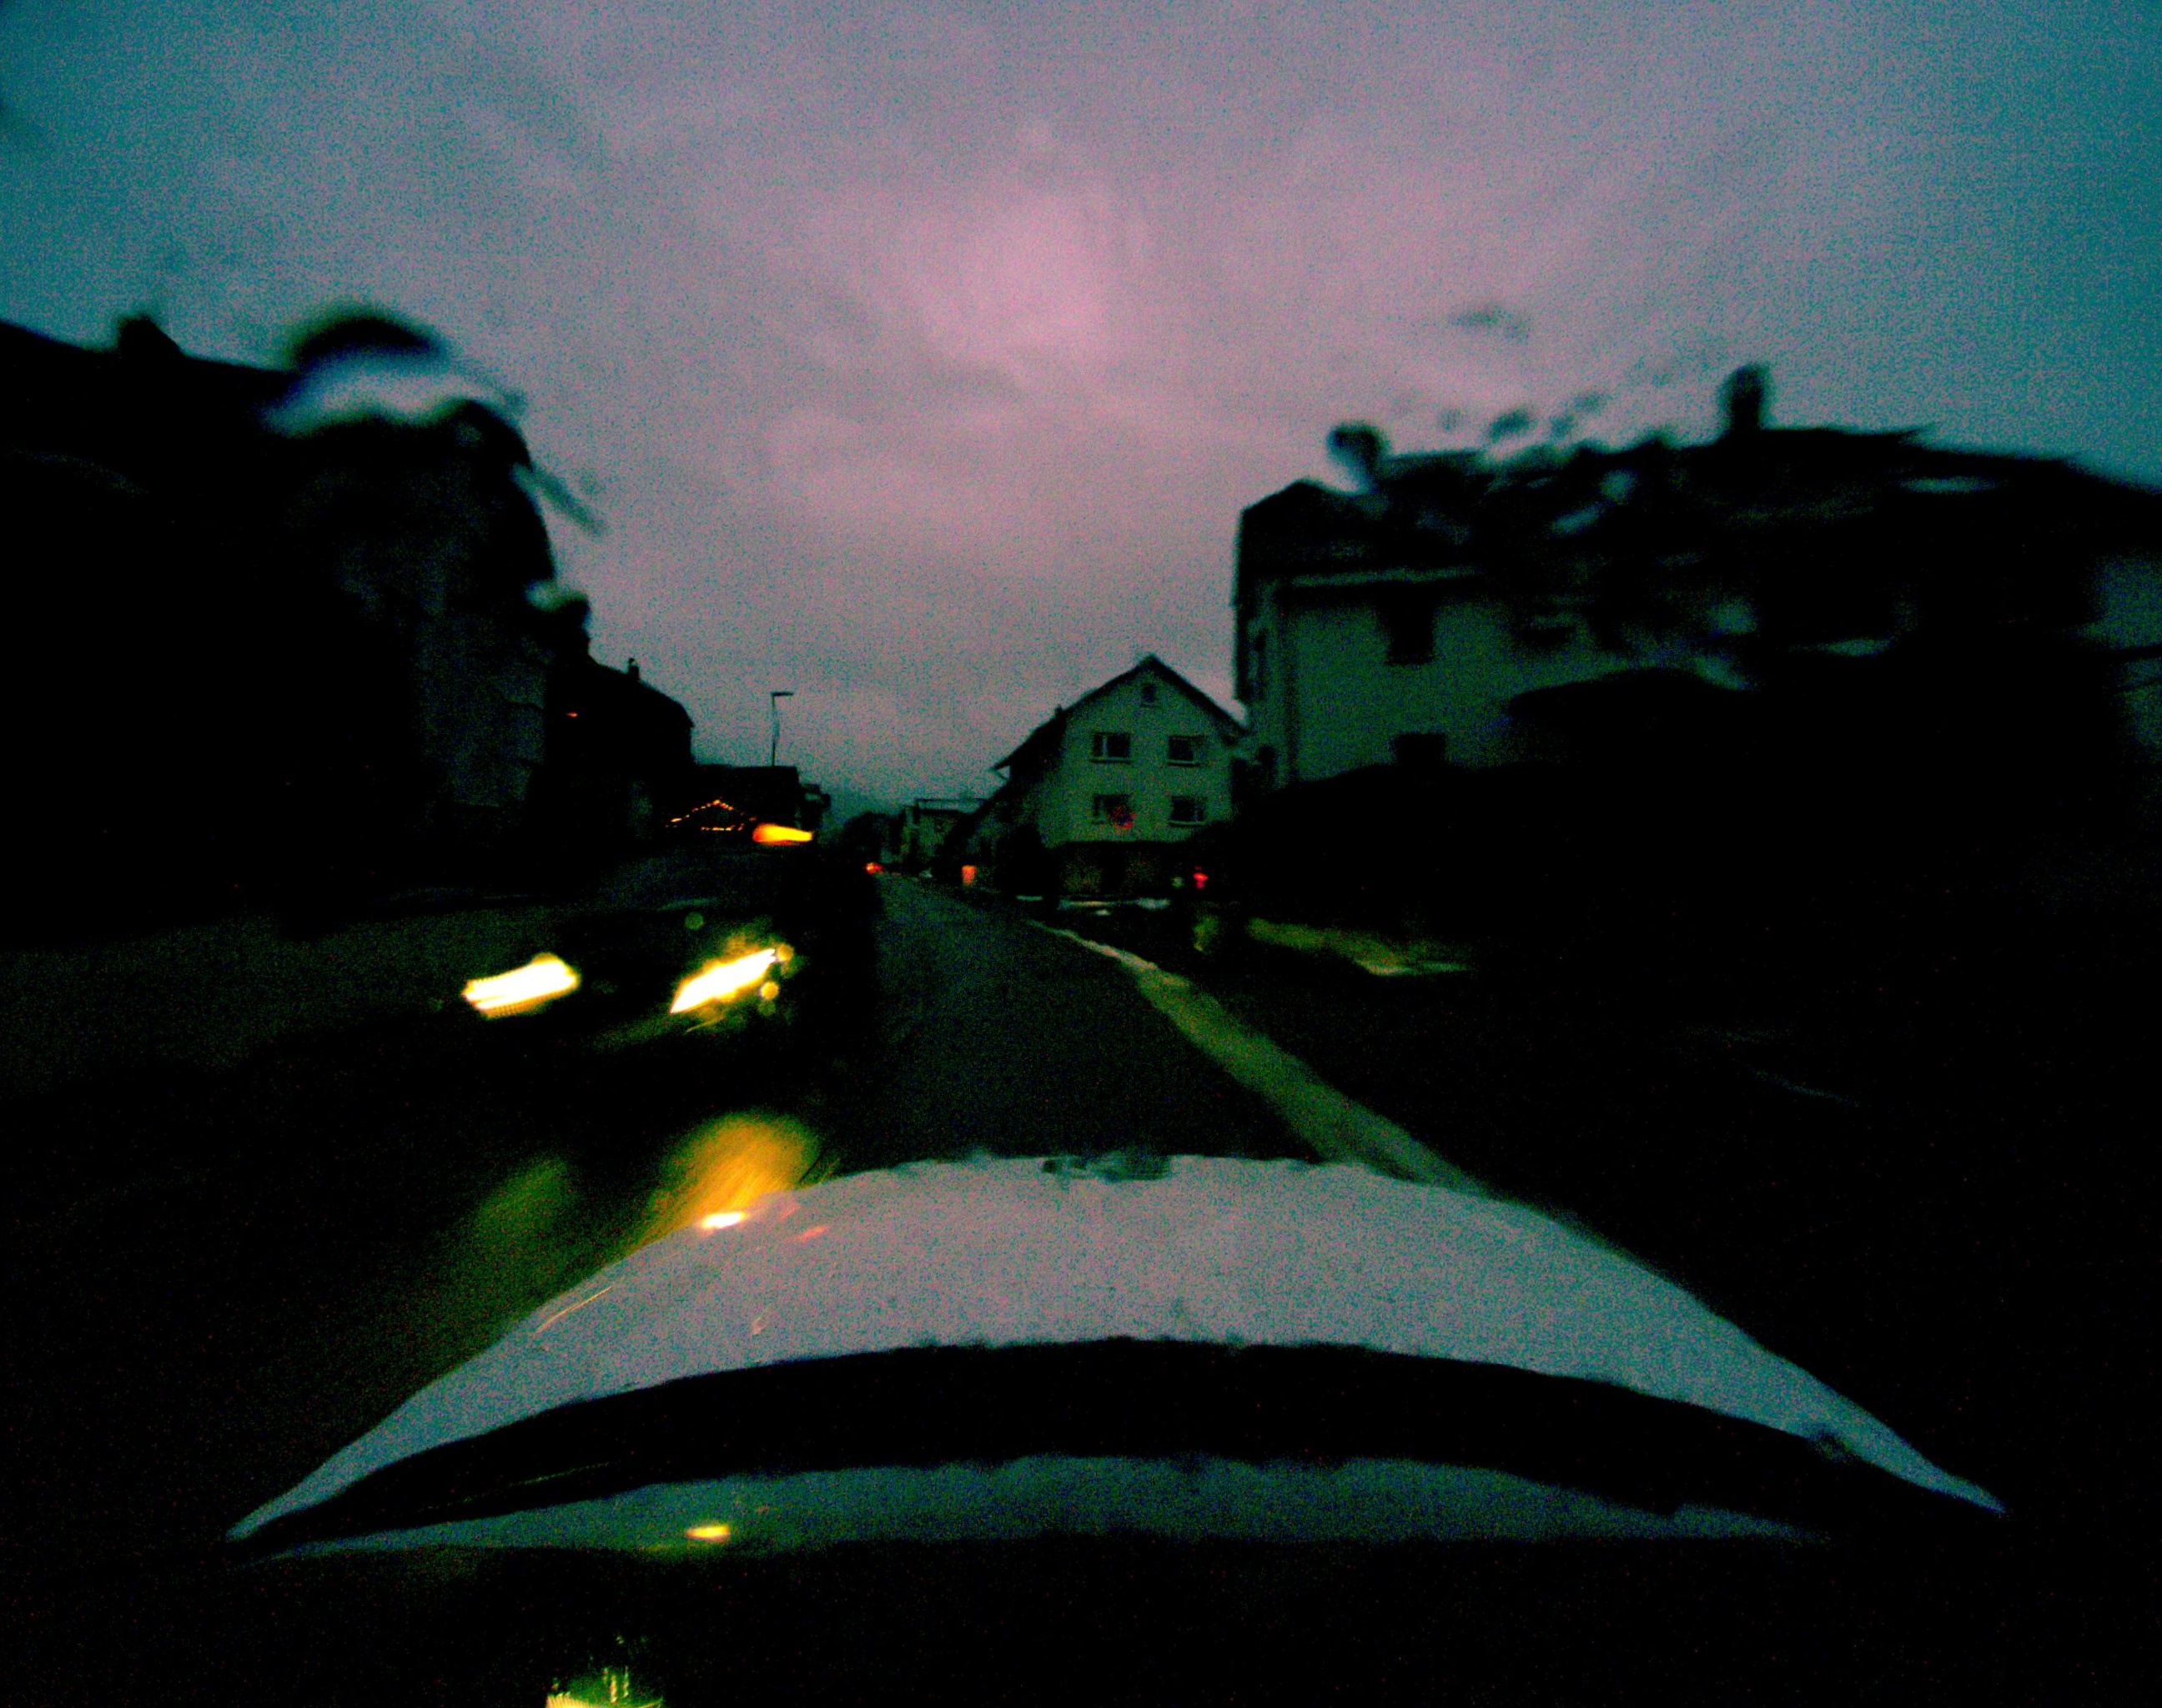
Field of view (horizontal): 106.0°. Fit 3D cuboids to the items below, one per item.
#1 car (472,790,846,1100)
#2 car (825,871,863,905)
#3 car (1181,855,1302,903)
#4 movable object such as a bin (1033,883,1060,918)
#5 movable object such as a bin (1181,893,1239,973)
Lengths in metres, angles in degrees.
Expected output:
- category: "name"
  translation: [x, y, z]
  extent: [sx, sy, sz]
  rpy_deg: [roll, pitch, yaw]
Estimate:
- category: "car"
  translation: [-3.535, 0.629, 7.998]
  extent: [2.113, 2.027, 4.959]
  rpy_deg: [-1, -1, -14]
- category: "car"
  translation: [-10.928, 1.527, 37.693]
  extent: [1.621, 1.438, 3.637]
  rpy_deg: [-1, -1, -15]
- category: "car"
  translation: [5.962, 0.901, 30.446]
  extent: [3.987, 1.618, 1.993]
  rpy_deg: [-1, -1, -10]
- category: "movable object such as a bin"
  translation: [-0.936, 1.257, 22.078]
  extent: [0.637, 0.917, 0.683]
  rpy_deg: [0, -1, -10]
- category: "movable object such as a bin"
  translation: [1.623, 0.981, 10.305]
  extent: [0.537, 0.938, 0.687]
  rpy_deg: [0, -1, -9]
